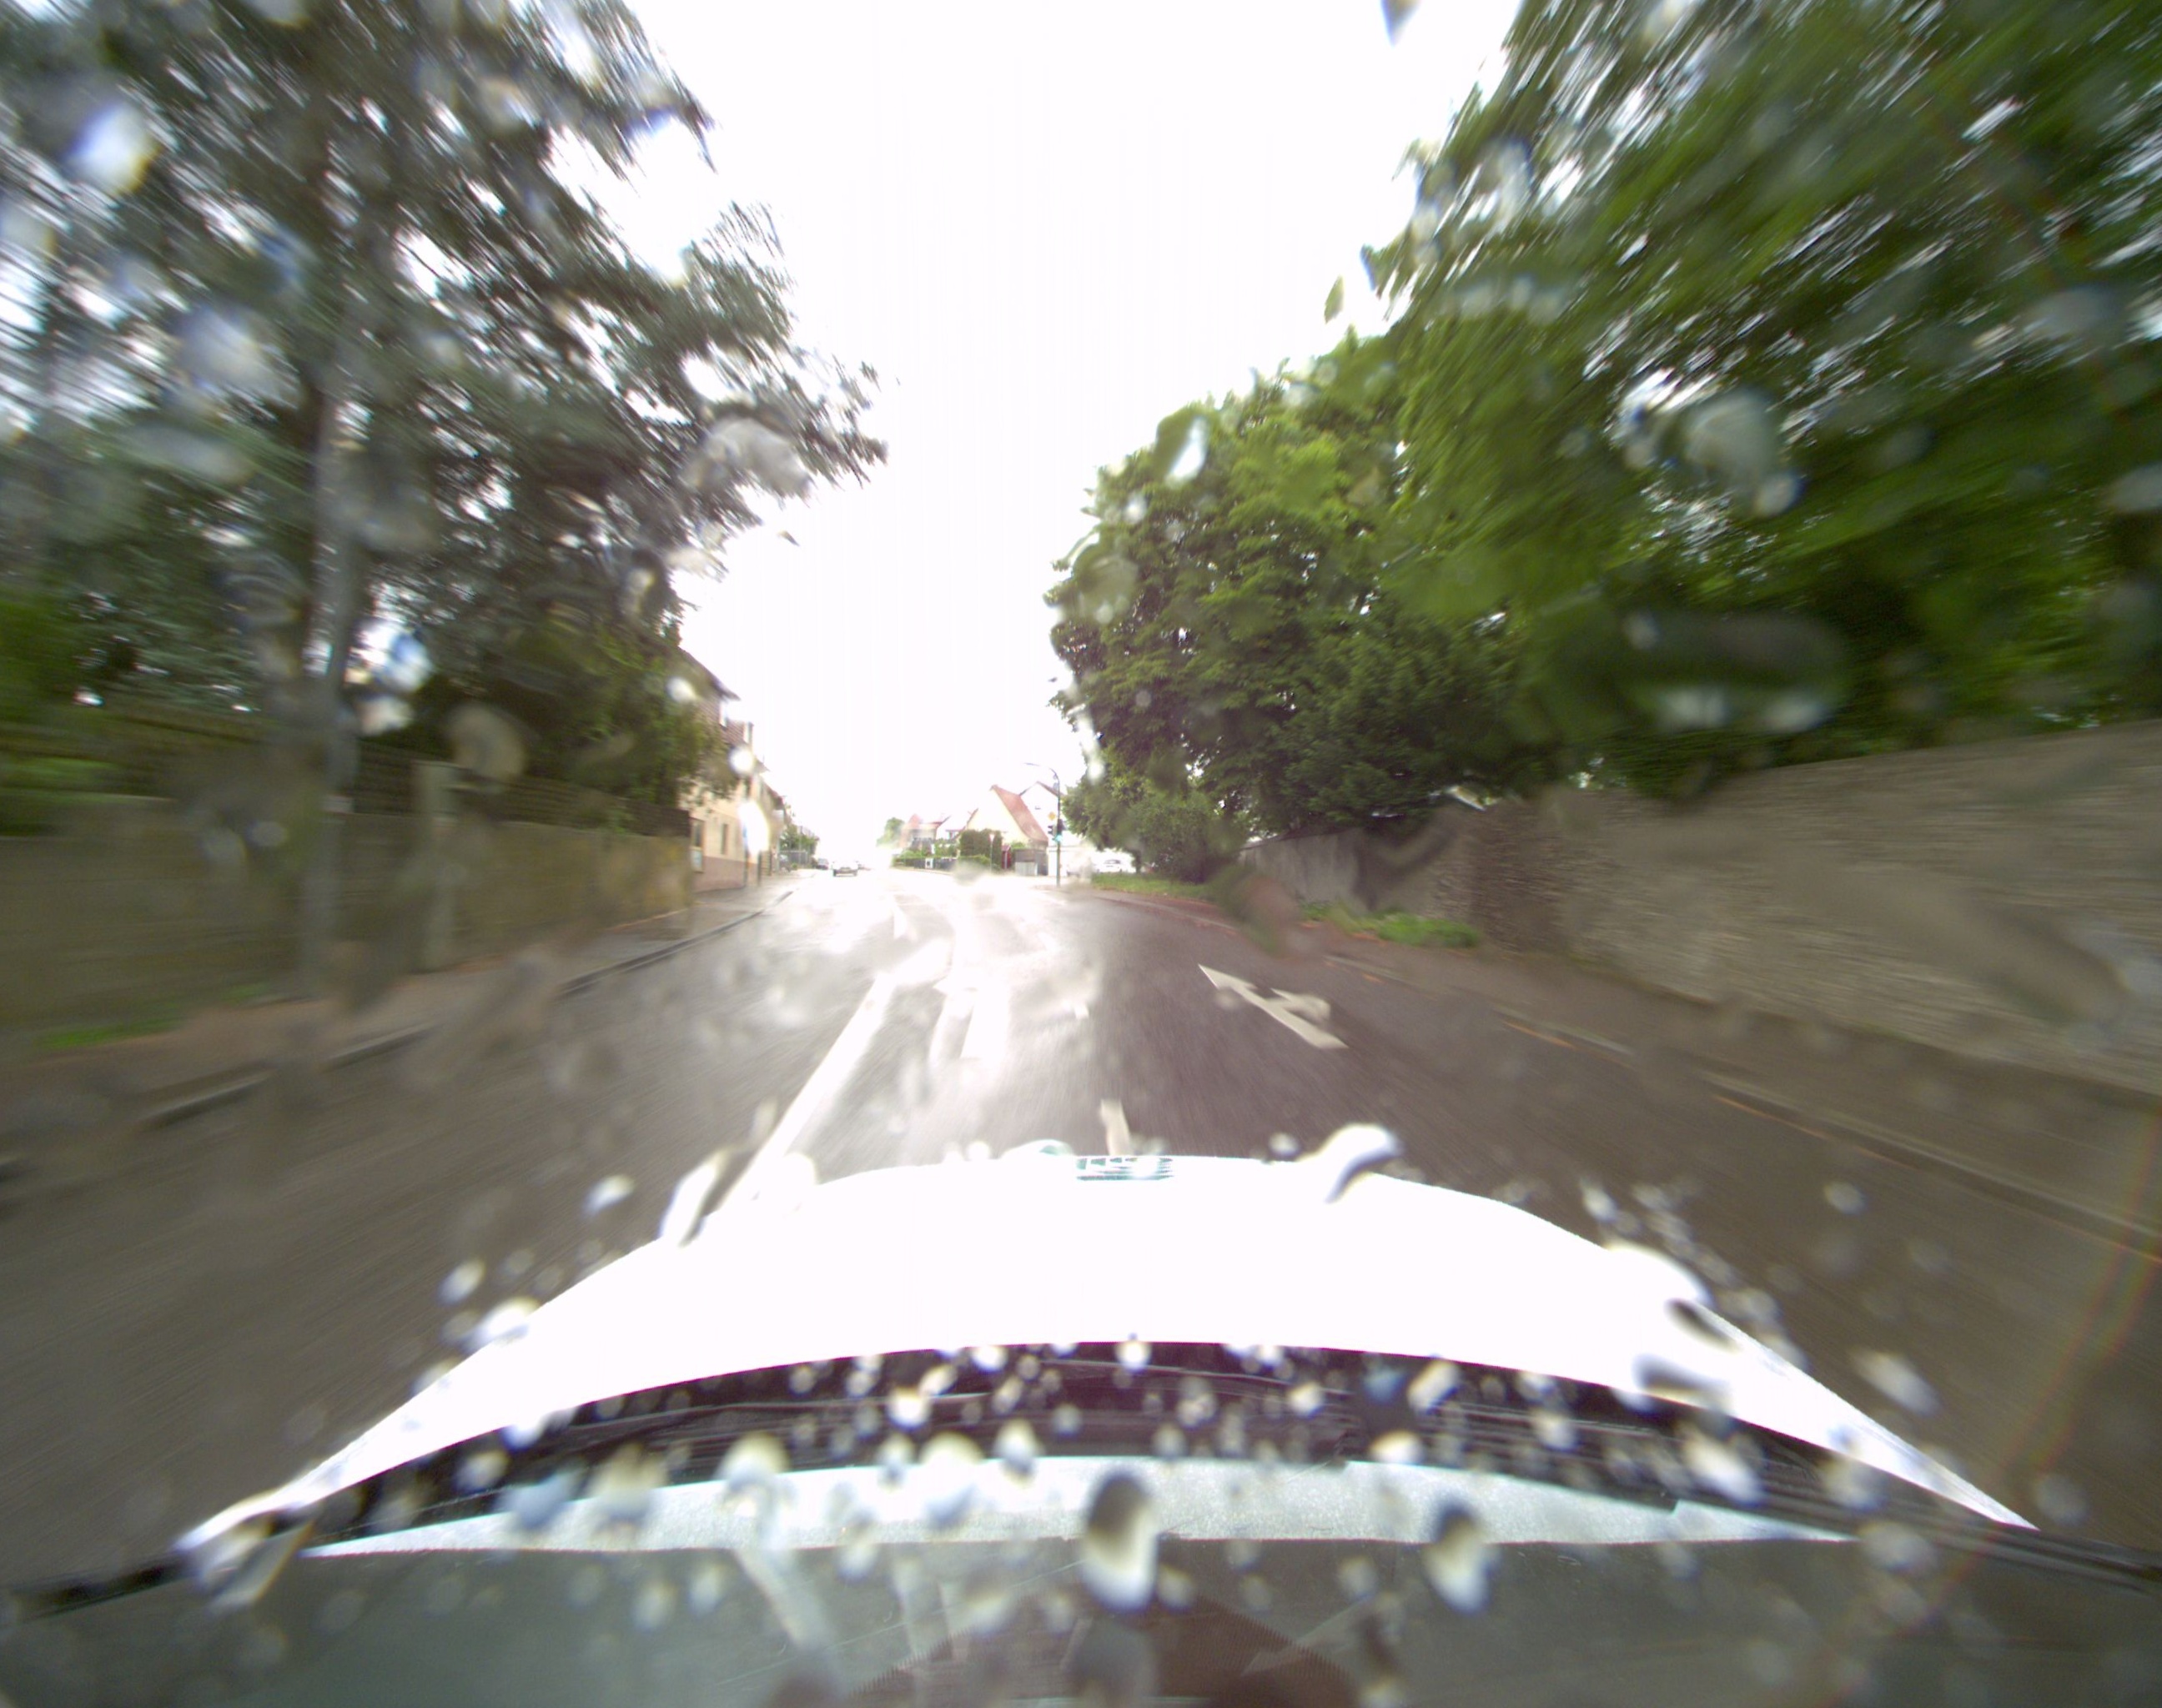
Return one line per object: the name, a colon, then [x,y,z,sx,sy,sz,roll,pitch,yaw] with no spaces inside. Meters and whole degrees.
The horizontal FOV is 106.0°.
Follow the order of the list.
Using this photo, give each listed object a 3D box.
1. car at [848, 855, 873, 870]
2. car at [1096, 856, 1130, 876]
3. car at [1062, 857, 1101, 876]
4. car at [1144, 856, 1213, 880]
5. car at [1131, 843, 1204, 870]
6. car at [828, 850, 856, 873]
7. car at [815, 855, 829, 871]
car: [-23.276,0.867,86.007,1.953,1.574,4.192,0,0,-24]
car: [2.592,0.940,65.096,1.980,1.530,4.014,-1,0,12]
car: [0.099,1.010,65.558,1.978,1.398,4.169,-1,0,17]
car: [6.242,0.873,52.459,4.166,1.442,1.831,1,0,-4]
car: [4.794,0.152,45.388,3.968,1.455,1.857,-1,-1,4]
car: [-18.171,0.536,61.967,1.998,1.706,3.978,0,0,-16]
car: [-46.389,1.697,146.020,2.098,2.650,5.885,3,-3,-16]
